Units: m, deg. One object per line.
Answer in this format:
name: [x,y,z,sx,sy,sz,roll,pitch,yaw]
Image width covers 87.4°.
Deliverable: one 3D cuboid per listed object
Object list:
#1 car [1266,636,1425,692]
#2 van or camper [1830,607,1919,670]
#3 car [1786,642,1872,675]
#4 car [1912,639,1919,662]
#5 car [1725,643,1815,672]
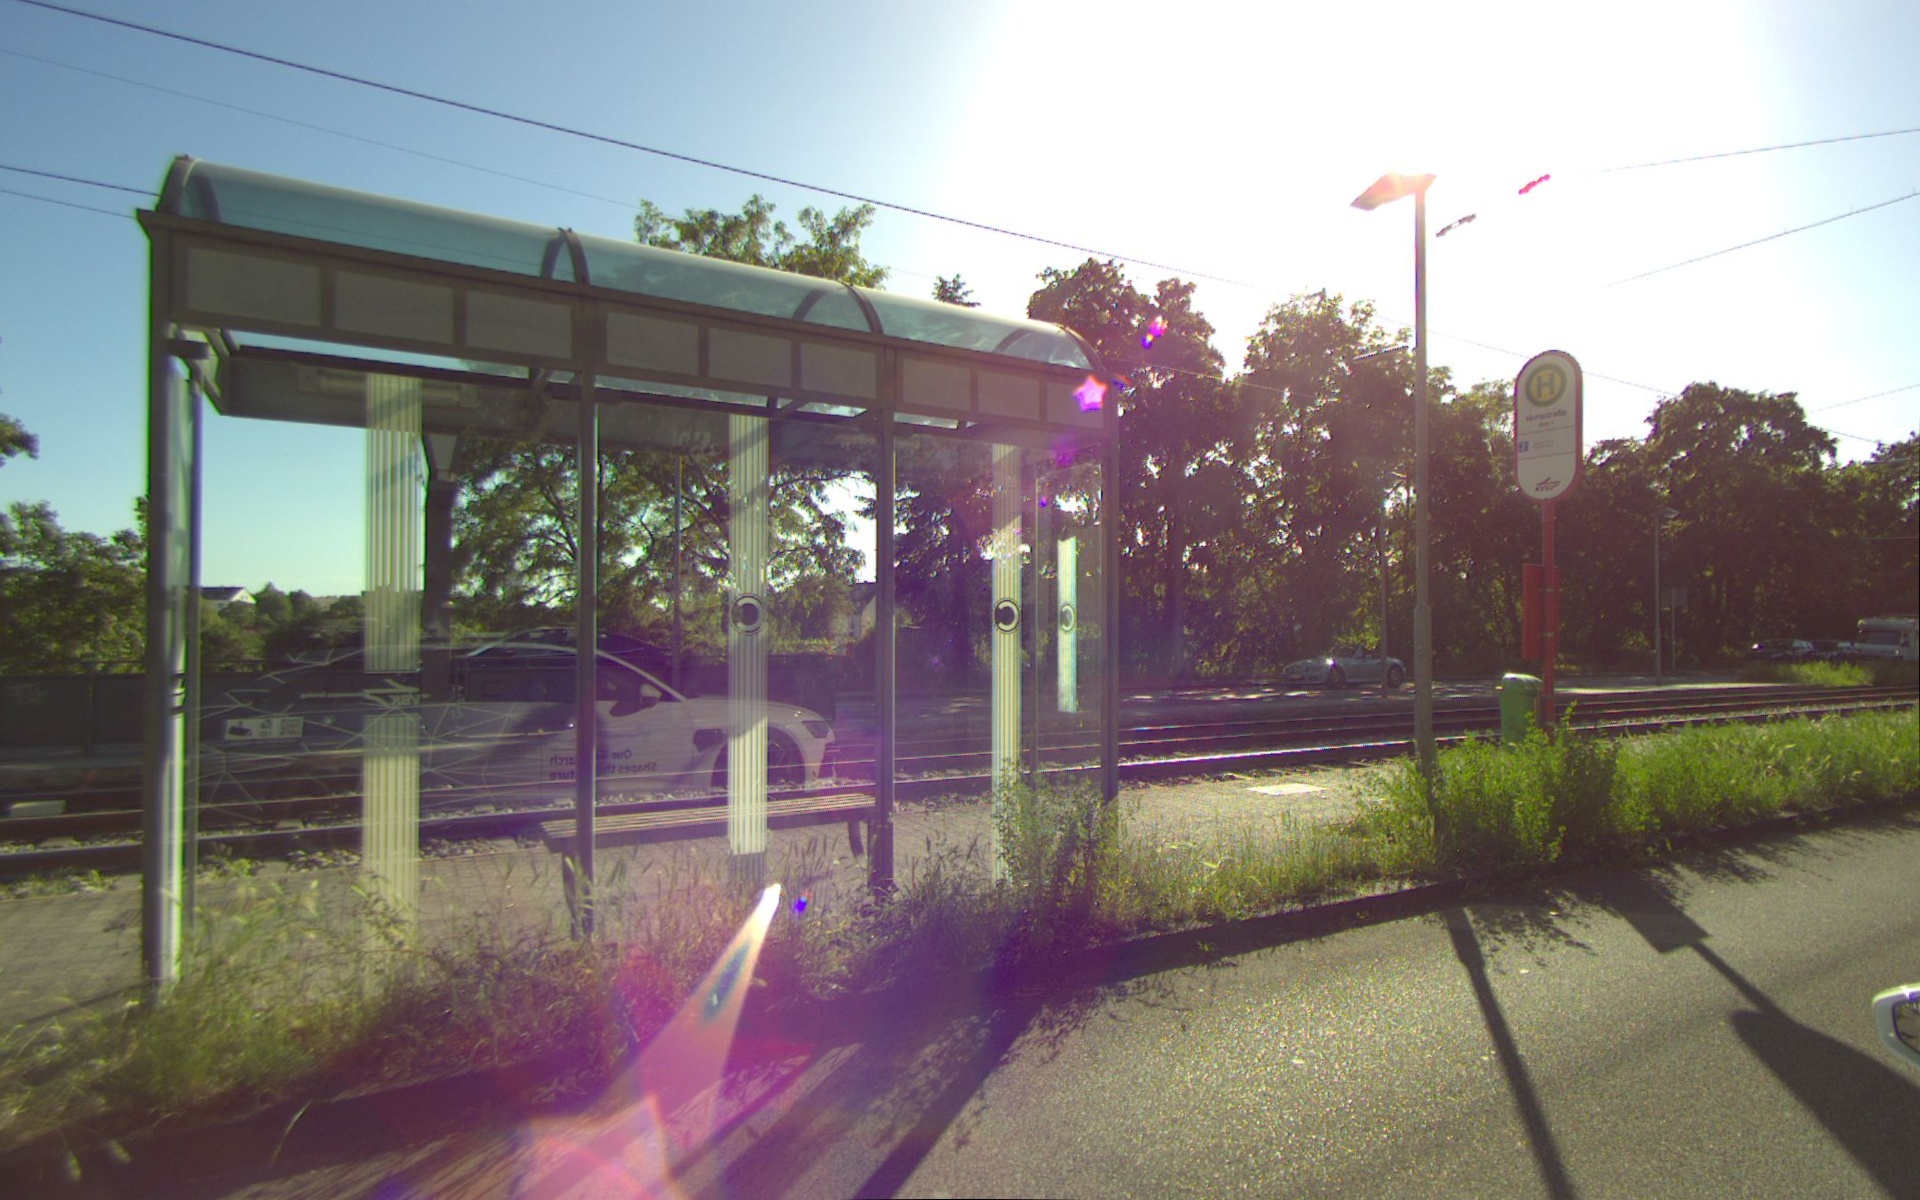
car: [11.034,1.776,28.706,4.324,1.489,1.985,1,-2,-30]
van or camper: [48.843,2.038,52.886,6.709,3.147,2.577,1,-2,-31]
car: [42.783,2.855,49.454,3.950,1.582,1.913,1,-2,-28]
car: [55.512,2.834,56.404,3.953,1.283,1.912,1,-2,-30]
car: [37.743,2.648,46.779,3.951,1.283,1.913,1,-2,-29]
